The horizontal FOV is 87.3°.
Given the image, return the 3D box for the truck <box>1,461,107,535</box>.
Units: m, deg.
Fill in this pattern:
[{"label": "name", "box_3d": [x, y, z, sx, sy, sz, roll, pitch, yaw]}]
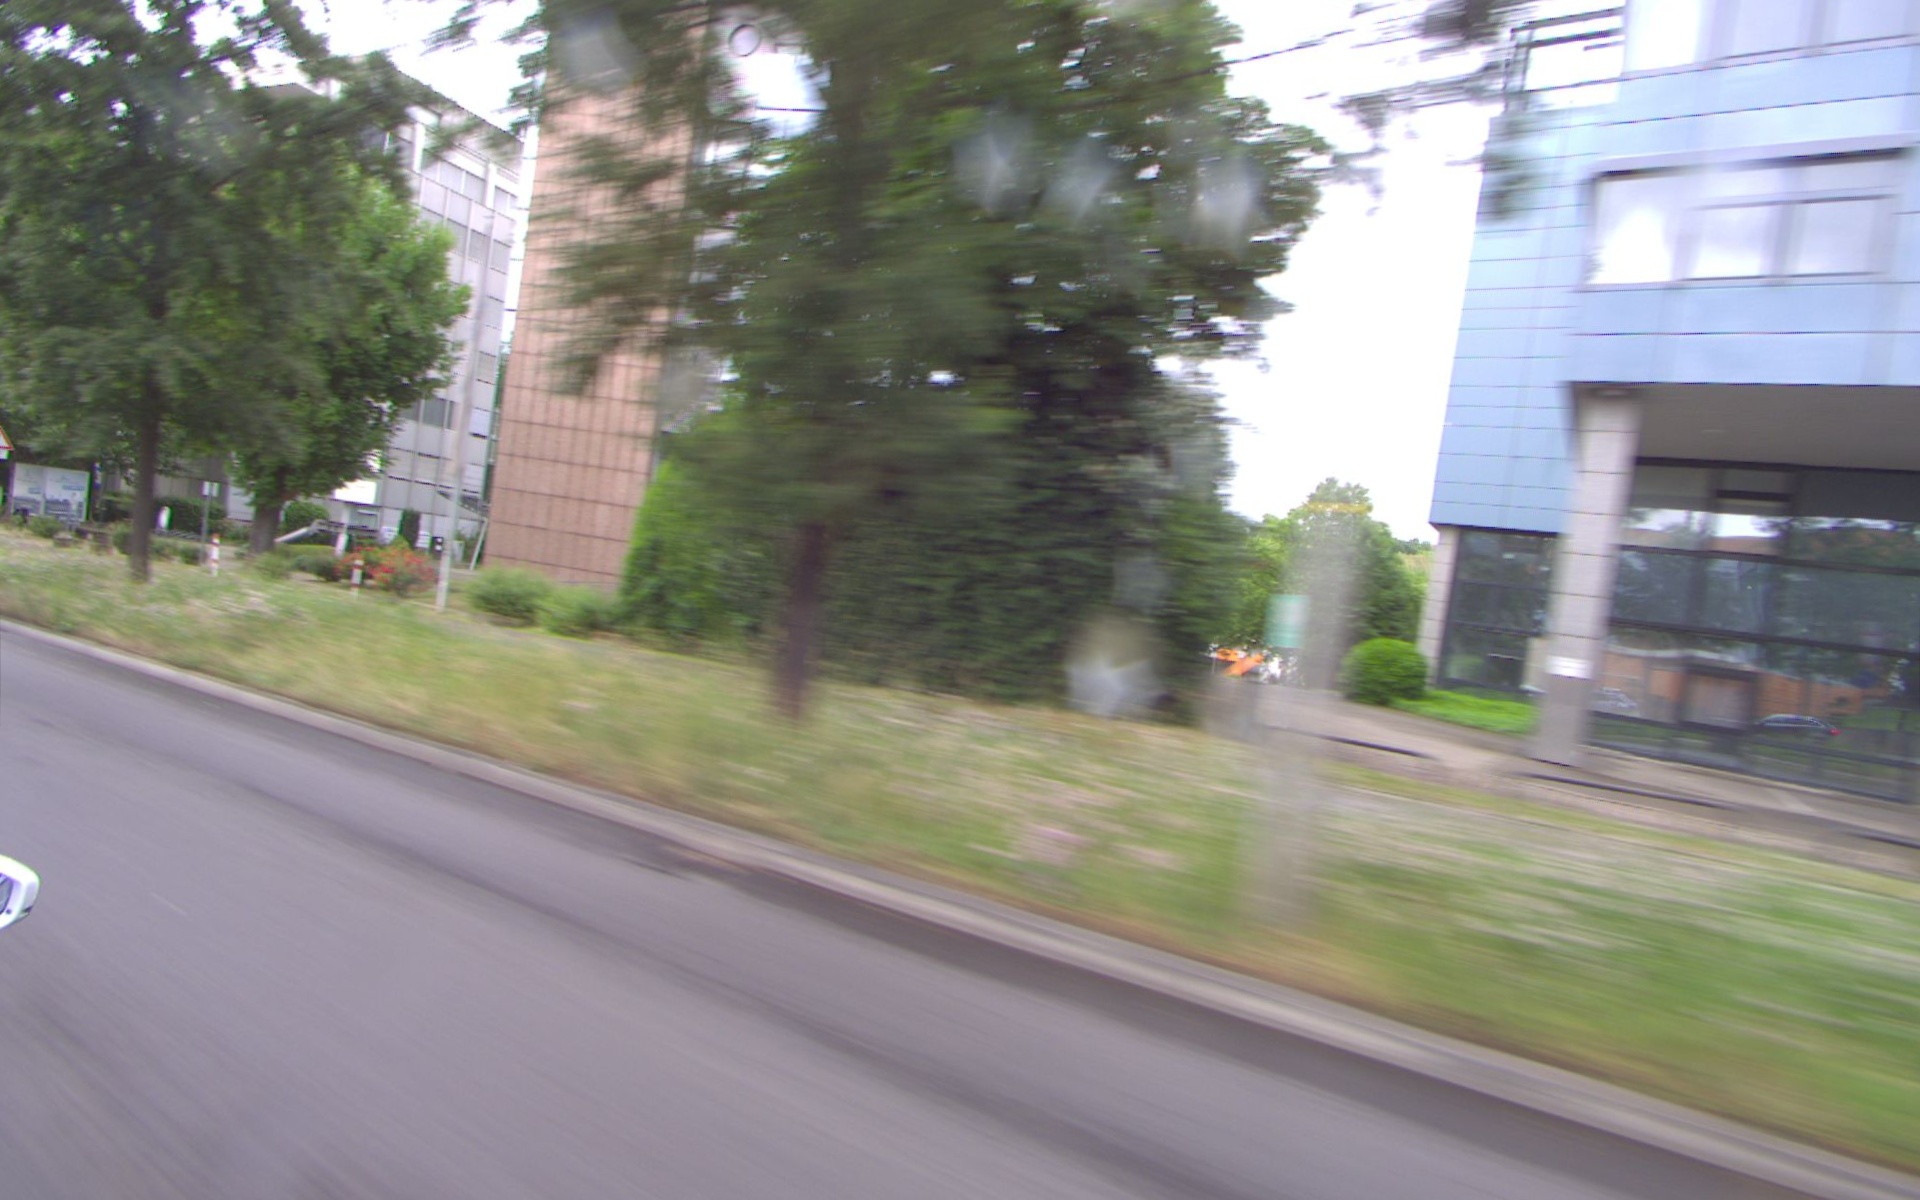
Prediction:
[{"label": "truck", "box_3d": [-36.823, -4.139, 40.885, 3.931, 2.547, 1.751, 6, -2, 28]}]
